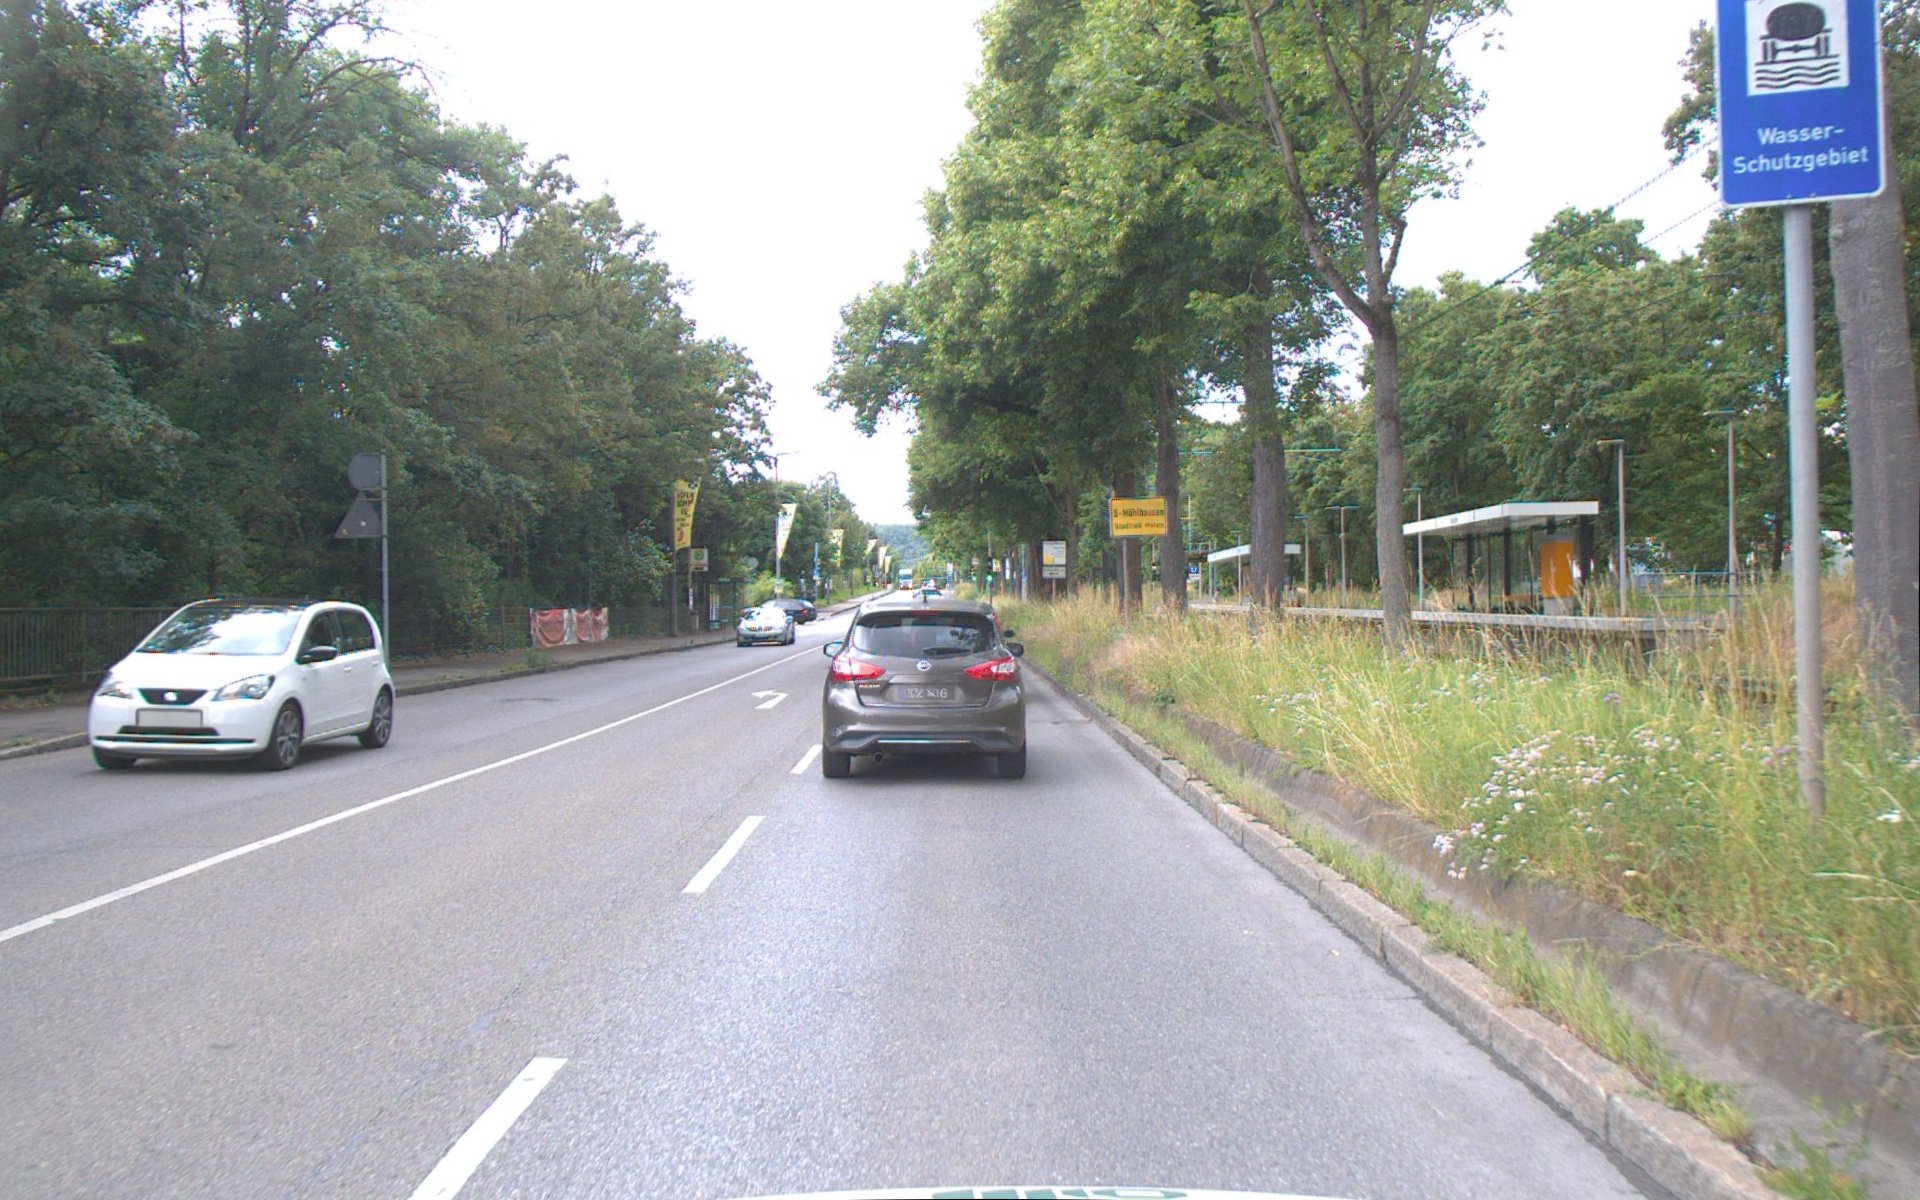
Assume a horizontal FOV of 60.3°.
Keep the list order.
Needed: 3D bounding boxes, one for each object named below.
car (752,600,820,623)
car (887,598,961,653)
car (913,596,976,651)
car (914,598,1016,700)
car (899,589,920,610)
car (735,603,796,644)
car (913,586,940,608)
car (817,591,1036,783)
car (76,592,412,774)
[{"bbox_3d":[-10.421,0.667,99.154,3.607,1.360,1.764,0,0,20],"label":"car"},{"bbox_3d":[-1.005,0.699,46.770,1.953,1.437,3.999,1,-1,-1],"label":"car"},{"bbox_3d":[-0.442,0.615,45.482,1.657,1.466,3.541,0,0,-1],"label":"car"},{"bbox_3d":[0.047,0.714,25.806,1.471,1.466,3.541,0,0,-1],"label":"car"},{"bbox_3d":[-5.069,-0.068,166.468,1.954,2.049,3.997,1,-1,-3],"label":"car"},{"bbox_3d":[-6.733,0.801,57.575,1.722,1.360,3.695,0,0,0],"label":"car"},{"bbox_3d":[-2.502,-0.218,125.003,1.953,1.601,3.999,1,-1,-1],"label":"car"},{"bbox_3d":[-0.277,0.701,15.136,1.747,1.533,3.695,0,0,0],"label":"car"},{"bbox_3d":[-6.520,0.685,15.492,1.548,1.491,3.695,0,0,0],"label":"car"}]
